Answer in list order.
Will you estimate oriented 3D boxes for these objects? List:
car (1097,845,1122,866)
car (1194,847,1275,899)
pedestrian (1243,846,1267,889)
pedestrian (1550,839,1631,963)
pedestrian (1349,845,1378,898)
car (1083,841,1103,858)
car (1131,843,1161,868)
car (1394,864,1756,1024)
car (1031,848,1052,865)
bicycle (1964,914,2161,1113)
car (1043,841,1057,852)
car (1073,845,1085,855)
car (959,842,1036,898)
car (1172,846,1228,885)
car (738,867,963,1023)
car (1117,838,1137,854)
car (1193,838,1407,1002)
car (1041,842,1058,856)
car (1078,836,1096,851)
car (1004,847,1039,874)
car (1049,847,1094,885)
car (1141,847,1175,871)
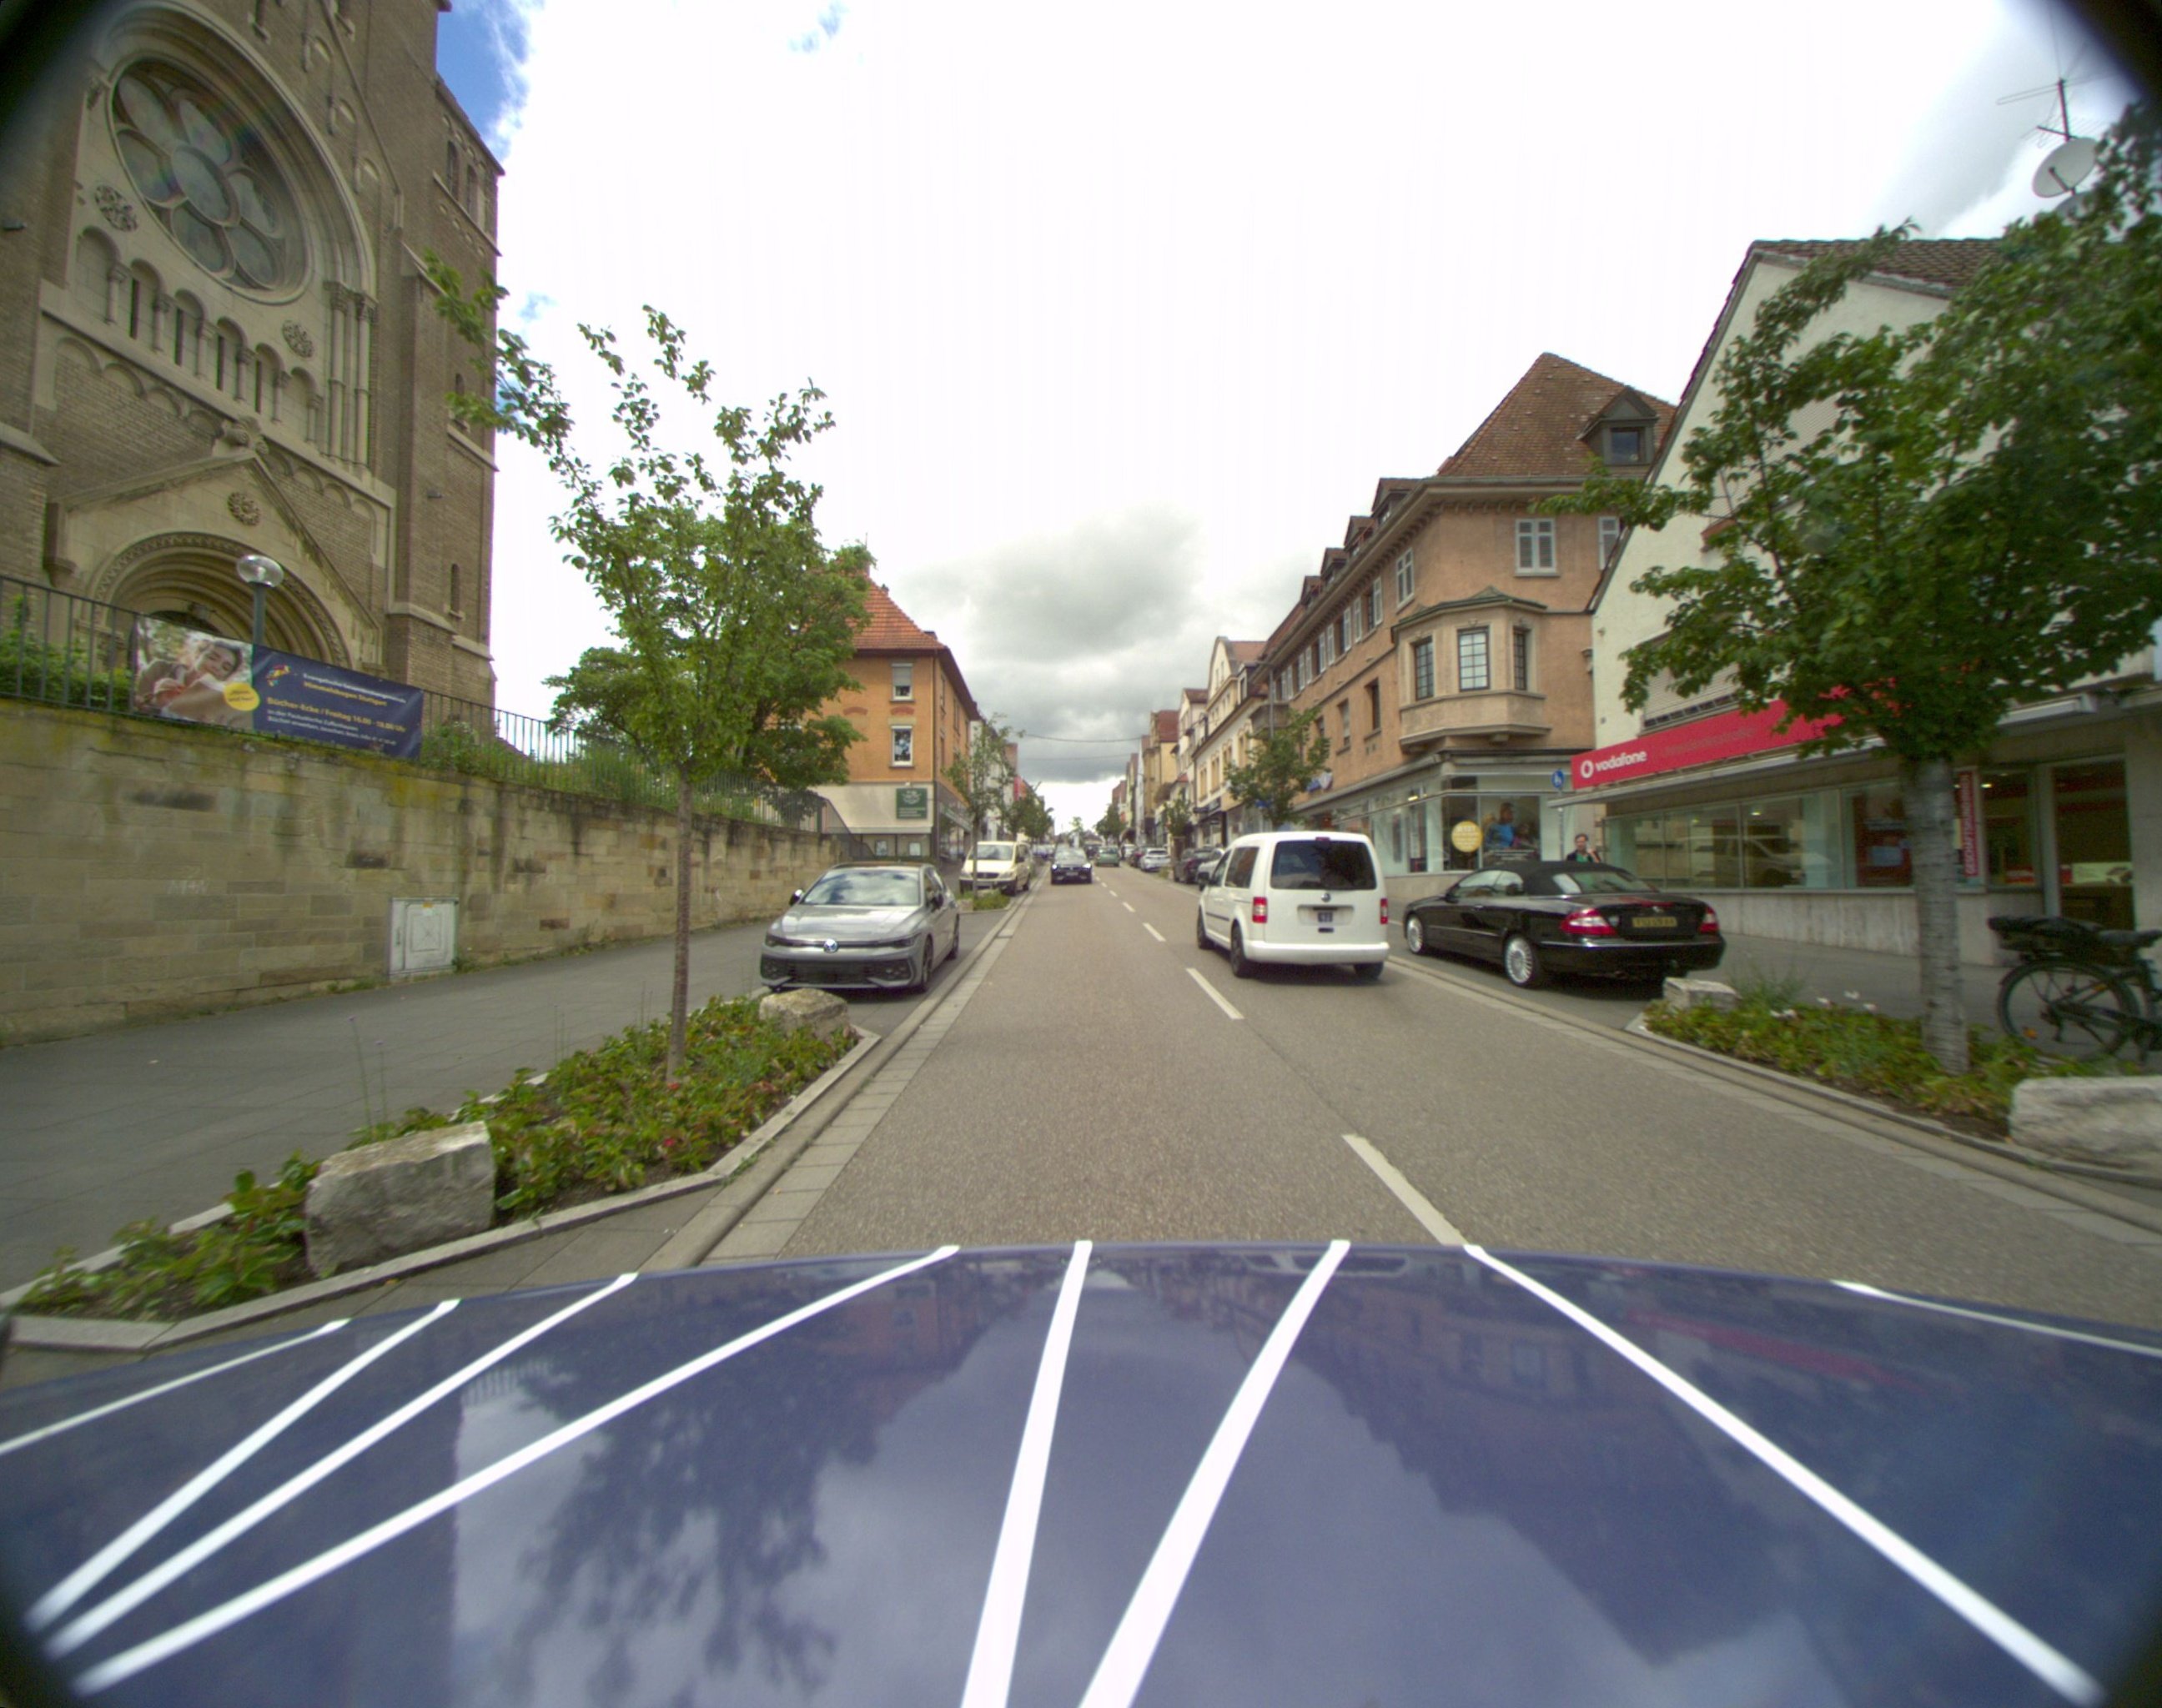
[{"bbox_3d":[2.115,0.063,57.221,1.686,1.492,4.152,0,1,-1],"label":"car"},{"bbox_3d":[5.198,0.582,26.270,1.730,1.564,4.453,-1,1,-2],"label":"car"},{"bbox_3d":[6.608,0.505,28.835,0.629,1.564,0.650,-4,1,-1],"label":"pedestrian"},{"bbox_3d":[7.444,0.658,11.131,0.662,1.751,0.777,-1,1,0],"label":"pedestrian"},{"bbox_3d":[8.584,0.529,23.101,0.615,1.573,0.642,-1,2,-3],"label":"pedestrian"},{"bbox_3d":[1.138,-0.464,74.253,1.830,1.680,3.858,0,1,-1],"label":"car"},{"bbox_3d":[4.607,0.058,54.502,1.732,1.670,3.991,-1,1,-1],"label":"car"},{"bbox_3d":[5.644,0.892,9.491,1.661,1.384,4.443,-1,1,1],"label":"car"},{"bbox_3d":[-3.714,0.180,71.753,1.774,1.515,3.528,0,1,-1],"label":"car"},{"bbox_3d":[6.747,1.003,4.631,0.485,1.100,1.907,-2,1,-1],"label":"bicycle"},{"bbox_3d":[-3.901,-0.996,95.502,1.690,1.365,3.528,0,1,-1],"label":"car"},{"bbox_3d":[-0.323,-0.600,109.462,1.690,1.403,3.528,0,1,-1],"label":"car"},{"bbox_3d":[-2.880,0.483,27.414,1.889,1.837,5.031,0,1,4],"label":"car"},{"bbox_3d":[5.196,0.470,33.648,1.669,1.517,3.962,-2,1,-2],"label":"car"},{"bbox_3d":[-2.642,0.957,9.730,1.759,1.433,4.088,0,1,-2],"label":"car"},{"bbox_3d":[4.355,-0.763,72.185,1.690,1.515,3.528,0,1,-1],"label":"car"},{"bbox_3d":[2.742,0.718,10.548,1.751,1.792,4.212,1,0,1],"label":"car"},{"bbox_3d":[-3.356,-0.562,81.961,1.774,1.515,3.528,0,1,-1],"label":"car"},{"bbox_3d":[0.675,-1.258,88.562,1.894,1.670,3.734,1,1,-1],"label":"car"},{"bbox_3d":[-3.457,0.339,44.757,1.816,1.439,3.944,2,1,-2],"label":"car"},{"bbox_3d":[-0.431,0.510,34.520,1.894,1.515,3.734,-2,1,-1],"label":"car"},{"bbox_3d":[4.724,0.280,47.132,1.732,1.423,3.502,-1,1,-1],"label":"car"}]
